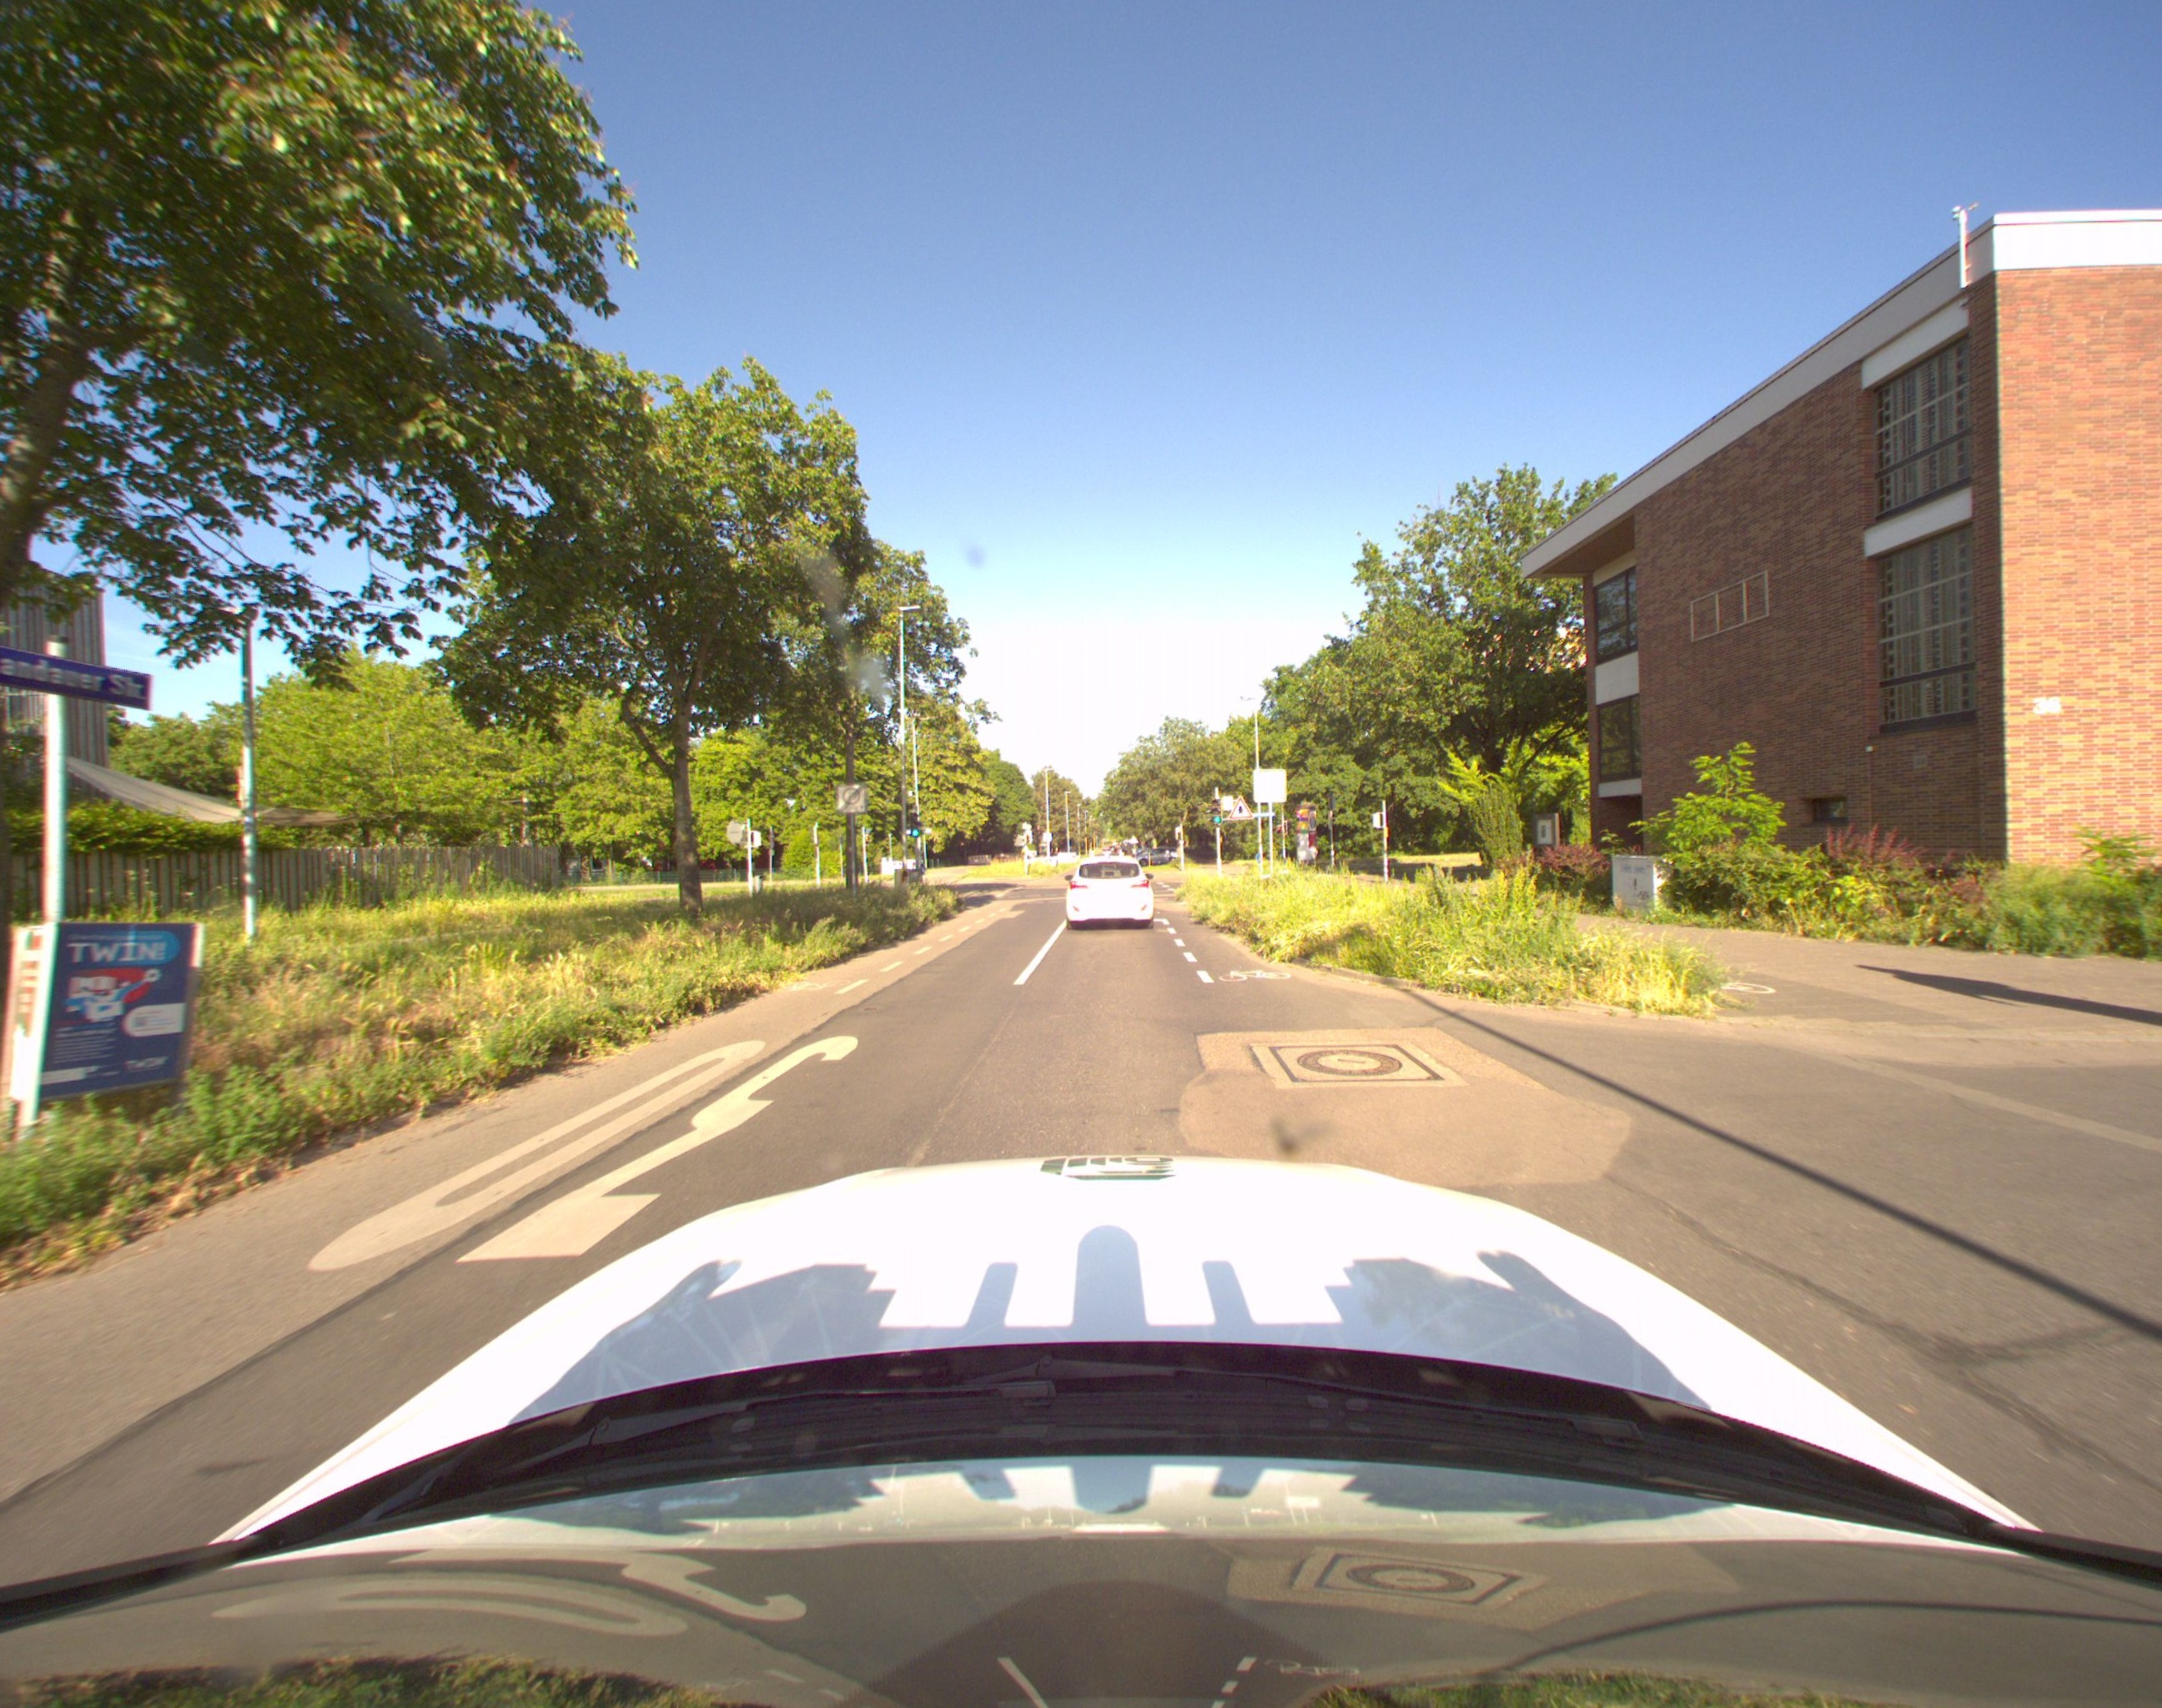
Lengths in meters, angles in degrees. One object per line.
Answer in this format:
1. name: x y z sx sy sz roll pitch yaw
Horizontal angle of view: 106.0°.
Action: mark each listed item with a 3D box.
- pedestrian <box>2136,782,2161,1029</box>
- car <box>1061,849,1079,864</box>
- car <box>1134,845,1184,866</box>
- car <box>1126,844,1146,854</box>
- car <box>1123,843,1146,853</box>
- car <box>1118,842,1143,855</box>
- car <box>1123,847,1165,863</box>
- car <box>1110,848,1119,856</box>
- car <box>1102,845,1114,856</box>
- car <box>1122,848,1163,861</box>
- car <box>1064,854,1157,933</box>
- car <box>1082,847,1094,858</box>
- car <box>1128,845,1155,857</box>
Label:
1. pedestrian: 8.391 0.379 5.744 0.895 1.821 0.737 -1 0 5
2. car: -1.335 0.330 100.463 1.985 1.816 4.003 -1 0 3
3. car: 7.258 0.147 75.790 4.478 1.783 1.857 -2 0 4
4. car: 10.272 -0.993 152.058 3.804 1.767 1.864 -1 0 2
5. car: 10.179 -1.158 155.214 4.285 1.907 1.864 -1 0 2
6. car: 7.746 -0.857 127.943 3.804 2.098 1.864 -1 0 2
7. car: 6.784 0.104 87.952 4.478 1.630 1.857 -2 0 4
8. car: 7.551 -0.427 181.164 1.985 1.816 4.003 -1 0 3
9. car: 4.643 -0.632 140.645 1.985 1.816 4.003 1 0 3
10. car: 8.380 0.087 111.271 5.592 1.684 1.949 -1 0 2
11. car: 0.662 0.770 17.786 1.782 1.463 3.966 -1 0 2
12. car: 1.358 -0.257 148.562 1.985 1.816 4.003 -1 0 3
13. car: 8.767 -0.362 117.859 3.804 1.684 1.864 -1 0 2
